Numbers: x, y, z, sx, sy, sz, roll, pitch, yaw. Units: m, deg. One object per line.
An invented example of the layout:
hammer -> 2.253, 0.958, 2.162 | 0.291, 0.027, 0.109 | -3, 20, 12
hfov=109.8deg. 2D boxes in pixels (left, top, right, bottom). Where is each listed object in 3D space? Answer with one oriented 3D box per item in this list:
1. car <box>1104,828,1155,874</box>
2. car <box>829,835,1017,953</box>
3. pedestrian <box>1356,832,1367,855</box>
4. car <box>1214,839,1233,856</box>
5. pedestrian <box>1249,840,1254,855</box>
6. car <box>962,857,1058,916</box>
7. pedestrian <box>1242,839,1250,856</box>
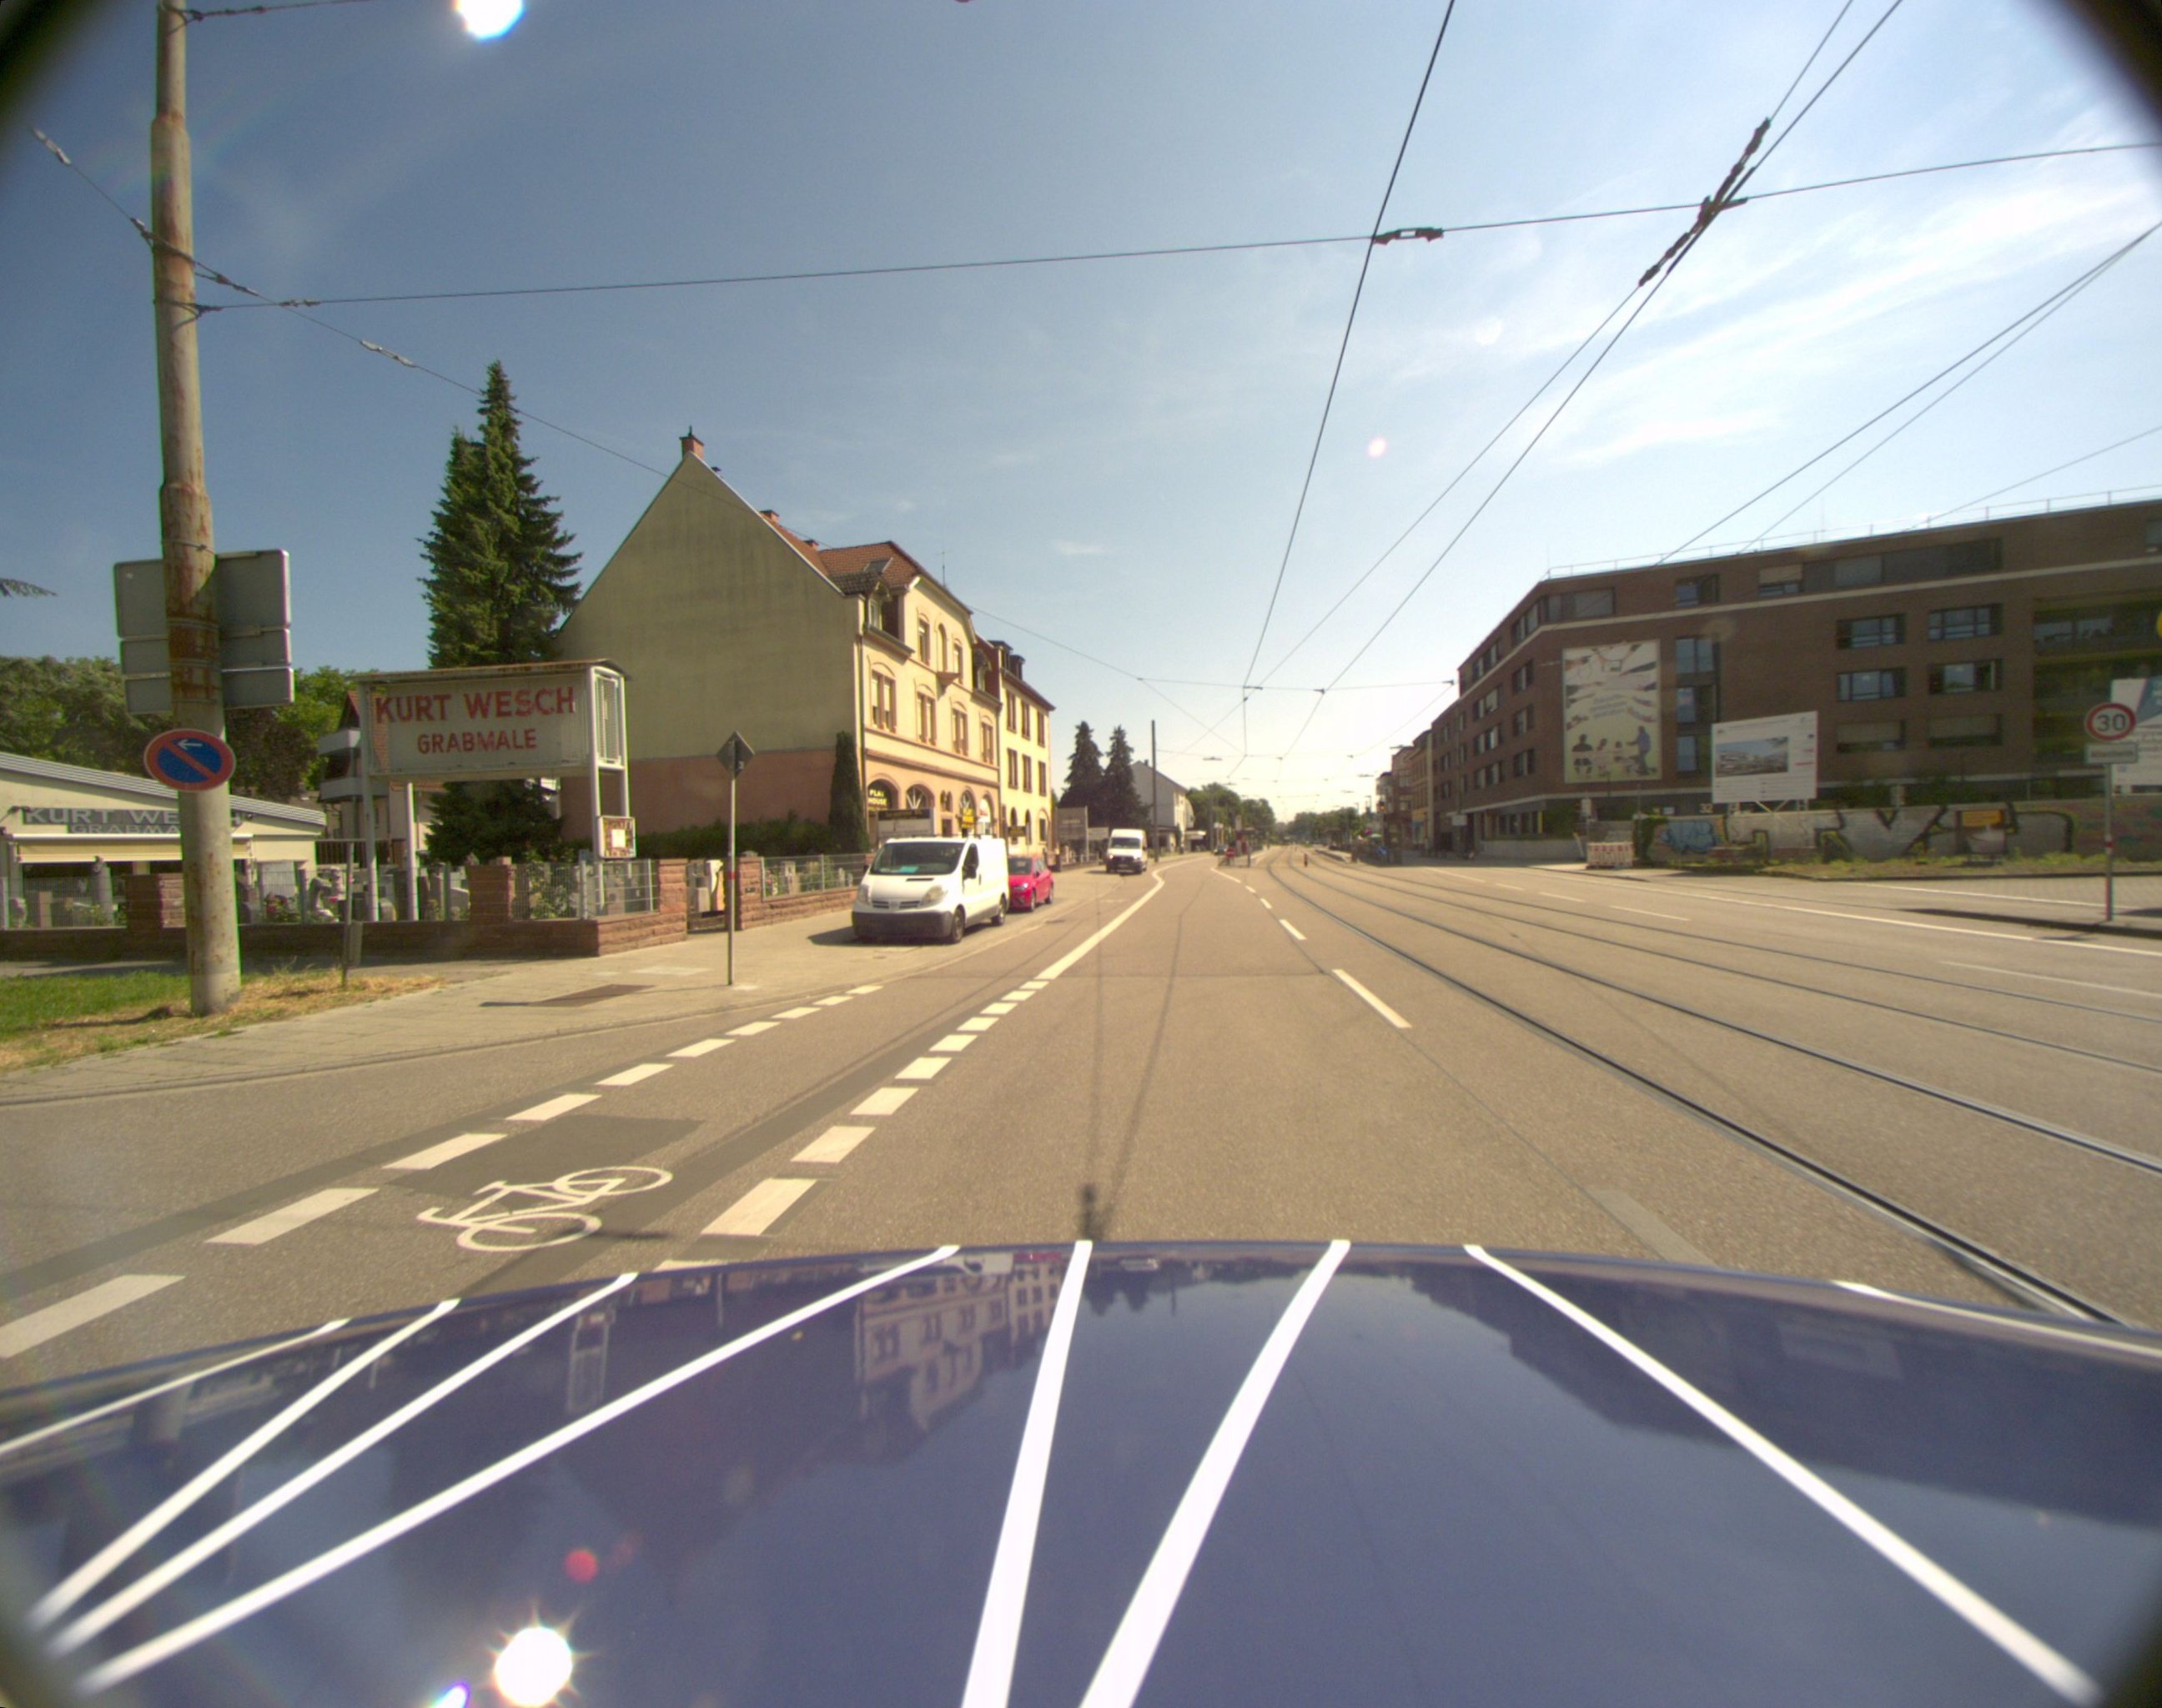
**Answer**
car -> 2.966, -0.235, 44.829 | 2.333, 2.521, 6.510 | 1, 1, 9
car -> -2.921, 0.642, 15.395 | 2.087, 2.002, 4.911 | 0, 1, 9
pedestrian -> 21.242, -0.788, 57.564 | 0.557, 1.750, 0.794 | -2, 1, 9
car -> 18.191, -0.874, 96.724 | 1.996, 2.002, 4.004 | -1, 1, 16
pedestrian -> 19.444, -0.772, 86.648 | 0.416, 1.680, 0.707 | -2, 1, 1
car -> -1.879, 0.841, 21.272 | 1.723, 1.398, 4.003 | -2, 1, 8
pedestrian -> 16.504, -0.694, 76.209 | 0.706, 1.680, 0.416 | -1, 1, 7
